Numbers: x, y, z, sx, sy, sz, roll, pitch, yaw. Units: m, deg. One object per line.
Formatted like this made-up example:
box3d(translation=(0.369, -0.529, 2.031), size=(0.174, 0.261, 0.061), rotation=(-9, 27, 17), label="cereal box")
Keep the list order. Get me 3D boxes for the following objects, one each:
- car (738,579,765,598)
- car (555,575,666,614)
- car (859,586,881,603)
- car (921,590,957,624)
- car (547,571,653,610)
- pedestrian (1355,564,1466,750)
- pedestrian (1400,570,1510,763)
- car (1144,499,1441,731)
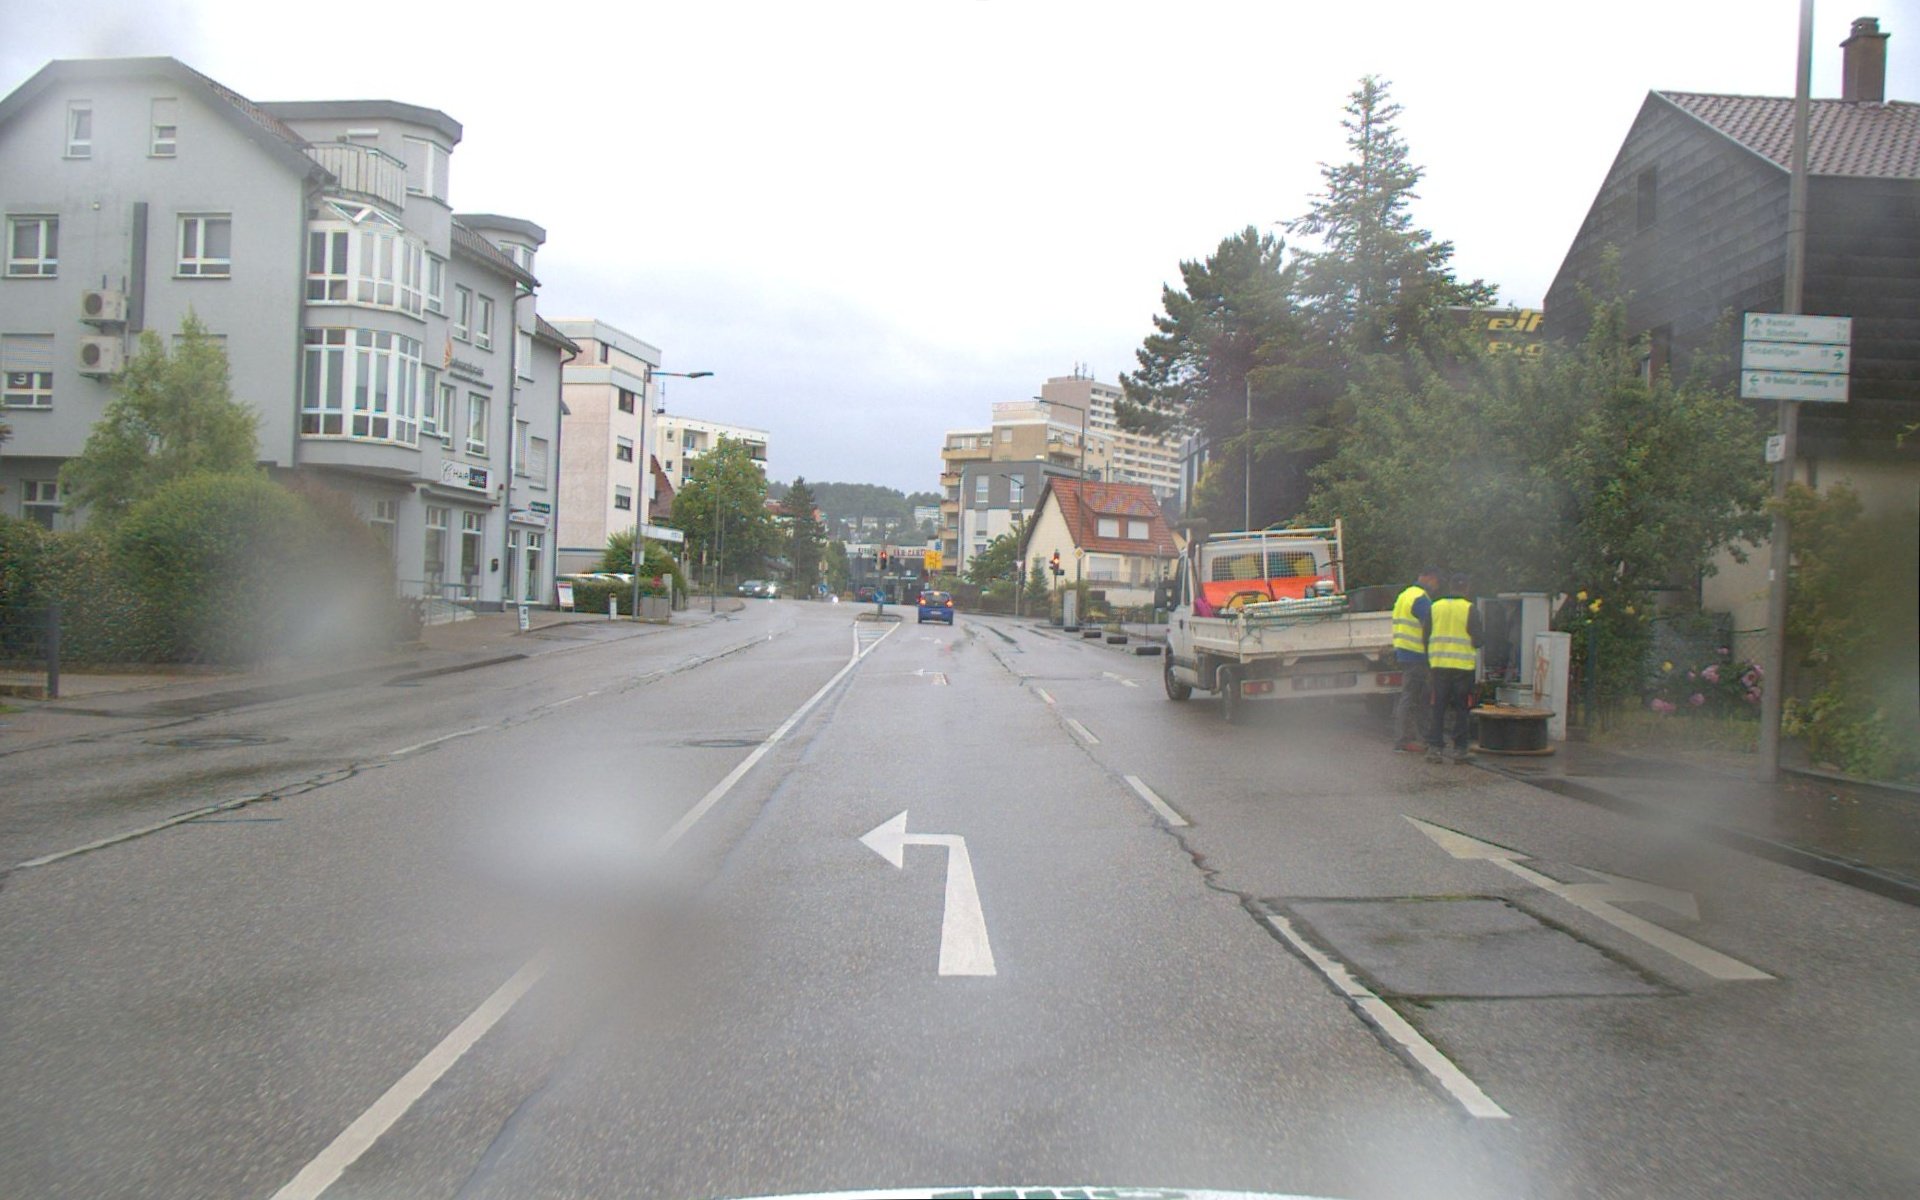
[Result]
box3d(translation=(-16.683, -0.903, 132.512), size=(1.742, 1.445, 3.830), rotation=(2, 0, -1), label="car")
box3d(translation=(-14.546, -0.246, 68.973), size=(4.130, 1.499, 1.905), rotation=(2, 0, 5), label="car")
box3d(translation=(-8.301, -0.509, 153.104), size=(1.776, 1.512, 4.189), rotation=(1, 0, 0), label="car")
box3d(translation=(-0.963, 0.321, 74.941), size=(1.547, 1.435, 3.270), rotation=(2, 0, -1), label="car")
box3d(translation=(-16.628, -0.426, 76.476), size=(4.356, 1.665, 1.941), rotation=(2, 0, 9), label="car")
box3d(translation=(4.369, 0.531, 16.095), size=(0.696, 1.737, 0.889), rotation=(-1, 0, -12), label="pedestrian")
box3d(translation=(4.498, 0.582, 15.084), size=(0.565, 1.693, 0.941), rotation=(-1, 0, -12), label="pedestrian")
box3d(translation=(3.933, 0.147, 20.980), size=(2.343, 2.474, 6.431), rotation=(0, 0, -1), label="car")
